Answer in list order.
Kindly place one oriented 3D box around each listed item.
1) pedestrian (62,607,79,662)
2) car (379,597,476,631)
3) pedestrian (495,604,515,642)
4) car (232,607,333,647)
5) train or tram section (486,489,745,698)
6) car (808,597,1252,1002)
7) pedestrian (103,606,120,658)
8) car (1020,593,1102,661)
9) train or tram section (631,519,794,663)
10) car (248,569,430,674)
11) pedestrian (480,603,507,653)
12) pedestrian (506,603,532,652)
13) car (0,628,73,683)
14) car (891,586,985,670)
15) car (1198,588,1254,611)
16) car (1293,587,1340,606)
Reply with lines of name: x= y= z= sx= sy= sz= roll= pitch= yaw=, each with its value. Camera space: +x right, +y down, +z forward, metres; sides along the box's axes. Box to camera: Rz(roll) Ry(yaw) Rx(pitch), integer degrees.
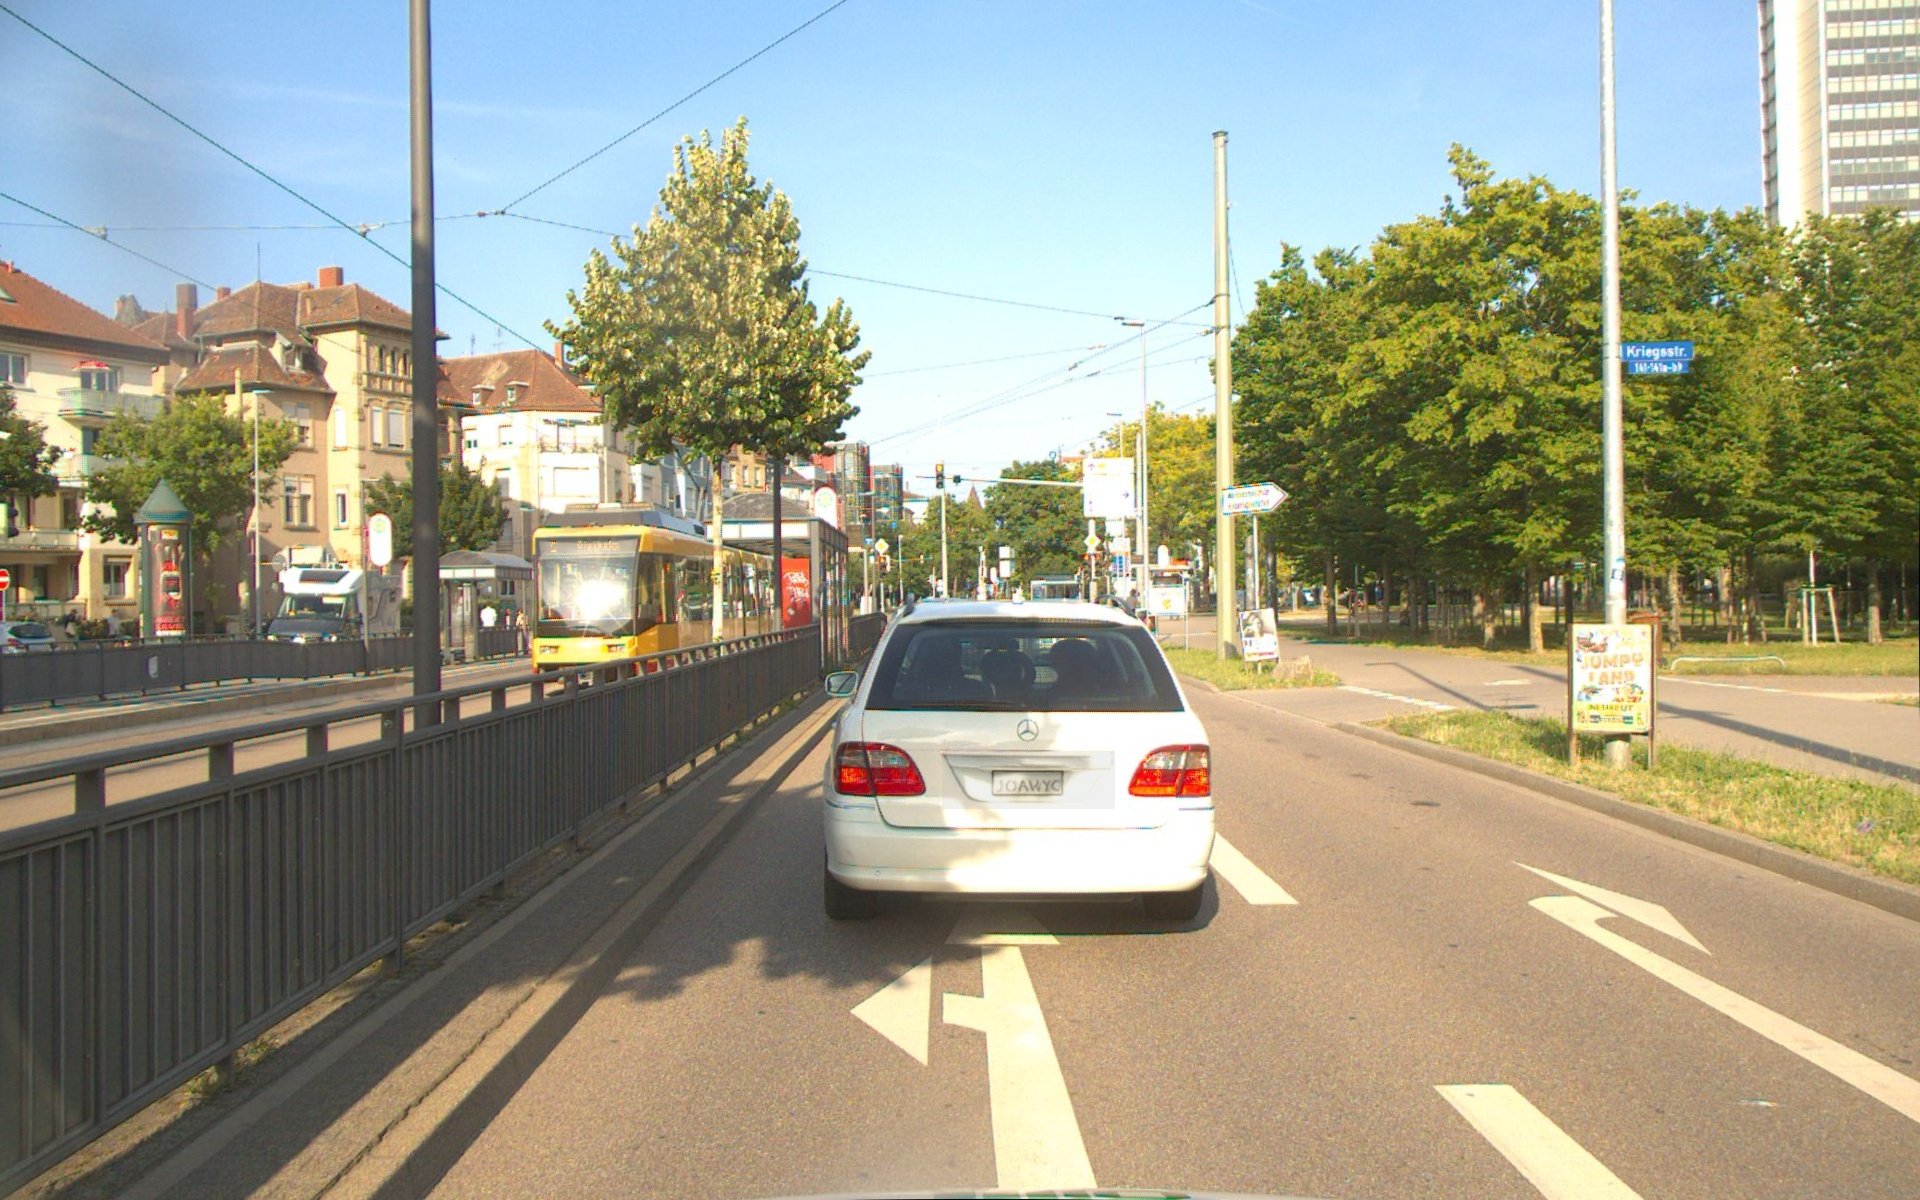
pedestrian: x=-33.558 y=1.296 z=62.426 sx=0.374 sy=2.049 sz=0.408 roll=0 pitch=0 yaw=18
car: x=-27.127 y=0.704 z=84.429 sx=2.158 sy=1.656 sz=4.716 roll=0 pitch=0 yaw=22
pedestrian: x=-21.305 y=1.080 z=77.462 sx=0.651 sy=1.784 sz=0.746 roll=-1 pitch=0 yaw=3
car: x=-31.048 y=1.222 z=75.833 sx=3.903 sy=1.780 sz=2.001 roll=0 pitch=0 yaw=17
train or tram section: x=-6.687 y=-0.174 z=34.605 sx=2.791 sy=3.540 sz=13.198 roll=0 pitch=1 yaw=-1
car: x=0.251 y=0.788 z=8.576 sx=1.722 sy=1.530 sz=3.999 roll=-2 pitch=0 yaw=-1
pedestrian: x=-33.847 y=1.275 z=65.955 sx=0.412 sy=2.049 sz=0.434 roll=0 pitch=0 yaw=18
car: x=2.573 y=0.646 z=42.195 sx=1.990 sy=1.633 sz=4.002 roll=-1 pitch=0 yaw=3
train or tram section: x=-6.794 y=-0.256 z=47.538 sx=2.791 sy=3.540 sz=13.198 roll=-1 pitch=0 yaw=-1
car: x=-17.682 y=0.547 z=47.641 sx=2.544 sy=2.783 sz=7.466 roll=-1 pitch=0 yaw=-1
pedestrian: x=-17.073 y=1.026 z=60.501 sx=0.871 sy=1.784 sz=0.744 roll=-1 pitch=0 yaw=-12
pedestrian: x=-16.188 y=1.013 z=60.690 sx=0.871 sy=1.784 sz=0.744 roll=-1 pitch=0 yaw=-12
car: x=-26.883 y=1.506 z=45.642 sx=3.902 sy=1.422 sz=2.002 roll=0 pitch=0 yaw=14
car: x=-0.432 y=0.572 z=36.333 sx=1.750 sy=1.719 sz=4.002 roll=-1 pitch=0 yaw=3
car: x=20.803 y=-0.017 z=129.344 sx=3.907 sy=1.680 sz=1.999 roll=-2 pitch=0 yaw=25
car: x=33.862 y=-0.318 z=157.045 sx=3.941 sy=1.680 sz=1.982 roll=-2 pitch=0 yaw=-28
